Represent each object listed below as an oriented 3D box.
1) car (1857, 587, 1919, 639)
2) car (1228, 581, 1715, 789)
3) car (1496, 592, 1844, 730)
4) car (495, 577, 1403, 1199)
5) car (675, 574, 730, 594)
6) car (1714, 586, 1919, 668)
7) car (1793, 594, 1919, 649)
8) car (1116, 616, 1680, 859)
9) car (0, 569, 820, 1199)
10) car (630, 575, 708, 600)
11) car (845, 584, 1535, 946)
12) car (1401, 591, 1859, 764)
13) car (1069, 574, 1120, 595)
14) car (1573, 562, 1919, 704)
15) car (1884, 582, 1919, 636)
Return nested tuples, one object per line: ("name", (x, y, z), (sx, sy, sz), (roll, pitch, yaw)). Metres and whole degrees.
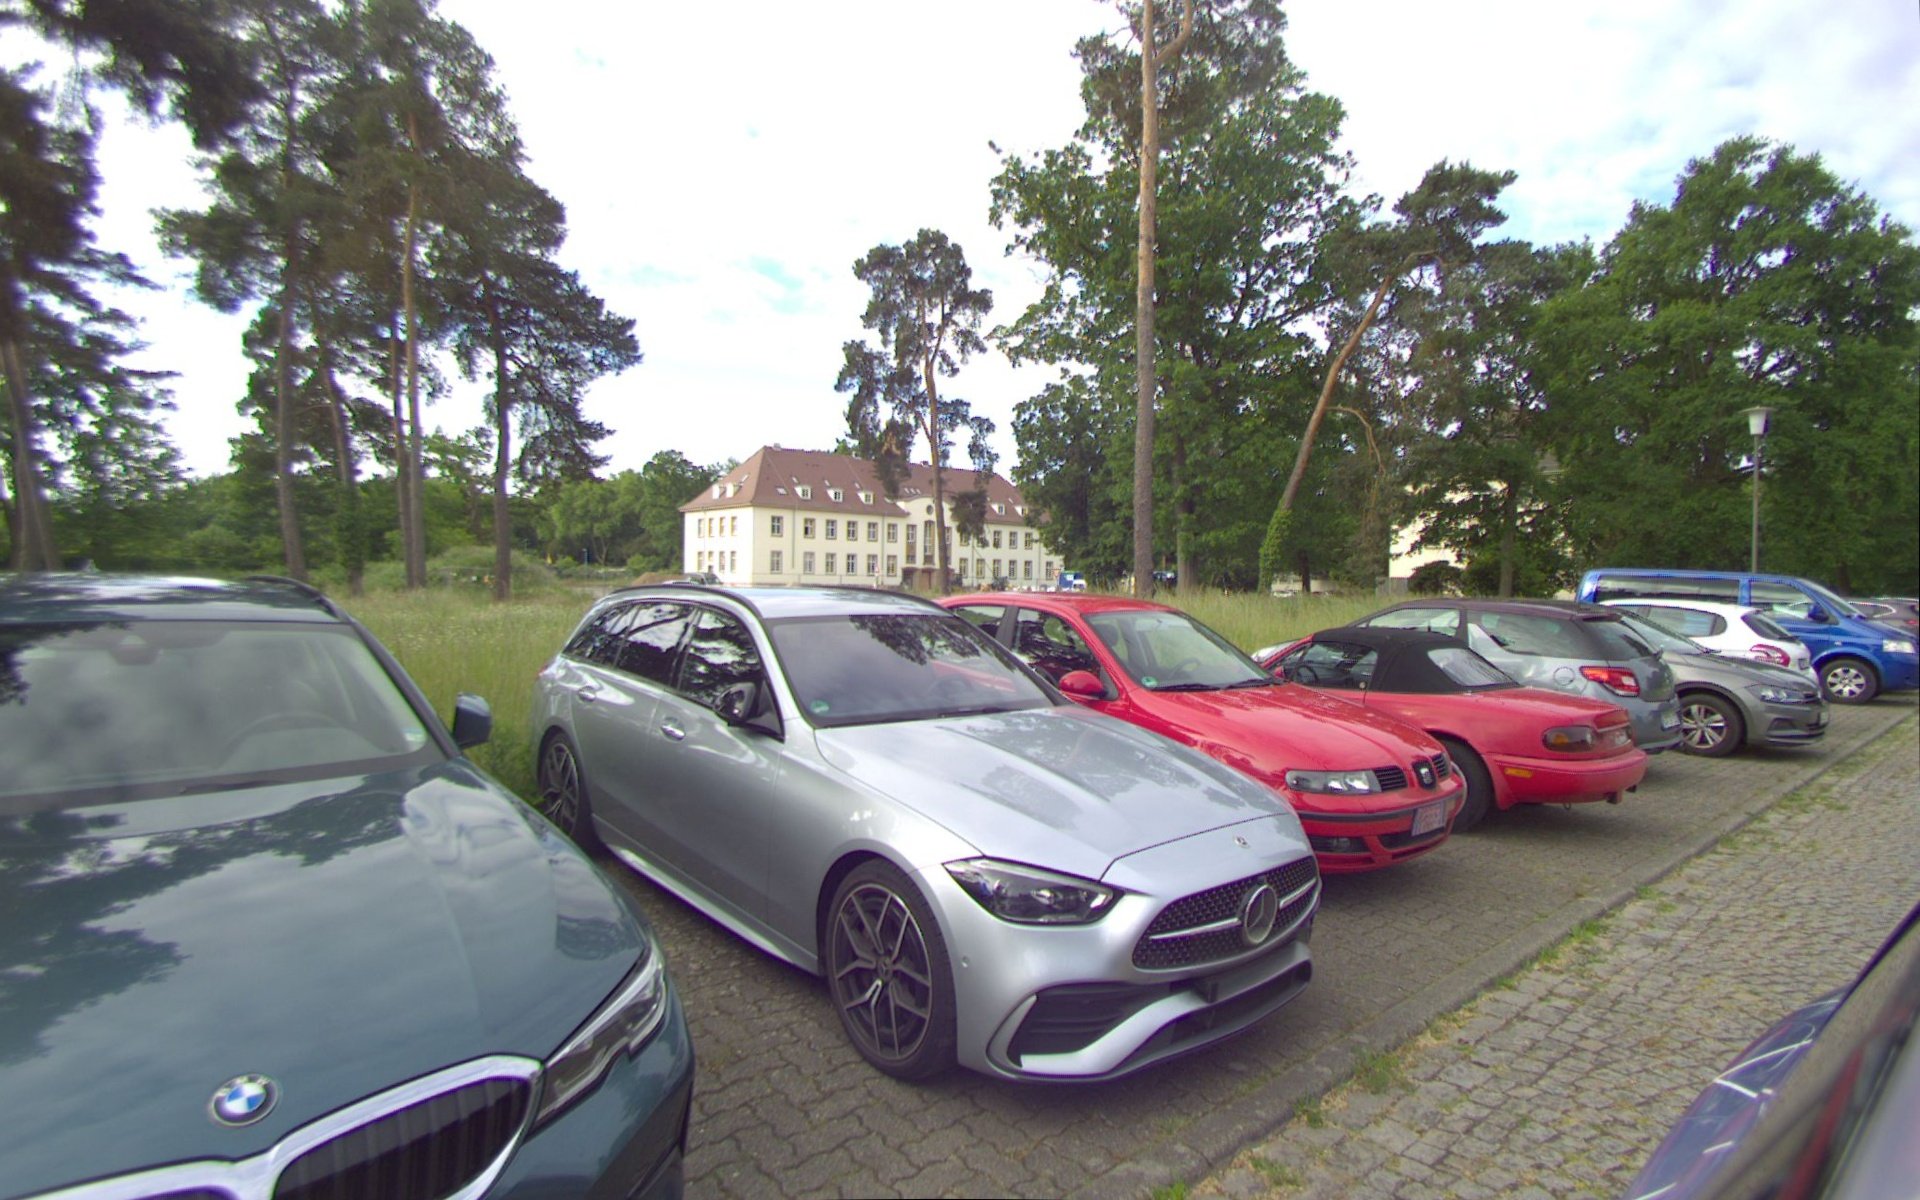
("car", (34.778, 0.478, 36.015), (1.964, 1.784, 4.007), (0, 1, -39))
("car", (4.713, 0.620, 9.707), (1.768, 1.524, 3.782), (0, 1, -42))
("car", (9.118, 0.671, 13.188), (1.608, 1.470, 3.408), (0, 1, -40))
("car", (-0.612, 0.679, 4.917), (1.780, 1.501, 4.767), (0, 1, -40))
("car", (-26.277, -1.660, 103.092), (6.170, 1.882, 2.305), (2, 2, 40))
("car", (19.595, 0.553, 22.656), (1.965, 1.630, 3.995), (0, 1, -40))
("car", (27.066, 0.606, 29.539), (1.965, 1.549, 3.994), (0, 0, -40))
("car", (3.029, 0.810, 7.583), (1.468, 1.222, 3.599), (1, 1, -40))
("car", (-2.544, 0.675, 3.152), (1.732, 1.501, 4.762), (0, 2, -43))
("car", (-17.709, -0.782, 61.579), (4.180, 1.433, 1.887), (-1, 2, -38))
("car", (1.128, 0.675, 6.377), (1.768, 1.470, 3.970), (0, 1, -40))
("car", (7.184, 0.683, 11.178), (1.787, 1.474, 3.850), (0, 1, -38))
("car", (13.579, -1.577, 102.157), (5.129, 2.039, 2.154), (0, 1, -38))
("car", (13.131, 0.419, 16.700), (1.965, 1.963, 4.747), (0, 2, -41))
("car", (38.180, 0.390, 38.684), (1.964, 2.039, 3.996), (0, 1, -39))
